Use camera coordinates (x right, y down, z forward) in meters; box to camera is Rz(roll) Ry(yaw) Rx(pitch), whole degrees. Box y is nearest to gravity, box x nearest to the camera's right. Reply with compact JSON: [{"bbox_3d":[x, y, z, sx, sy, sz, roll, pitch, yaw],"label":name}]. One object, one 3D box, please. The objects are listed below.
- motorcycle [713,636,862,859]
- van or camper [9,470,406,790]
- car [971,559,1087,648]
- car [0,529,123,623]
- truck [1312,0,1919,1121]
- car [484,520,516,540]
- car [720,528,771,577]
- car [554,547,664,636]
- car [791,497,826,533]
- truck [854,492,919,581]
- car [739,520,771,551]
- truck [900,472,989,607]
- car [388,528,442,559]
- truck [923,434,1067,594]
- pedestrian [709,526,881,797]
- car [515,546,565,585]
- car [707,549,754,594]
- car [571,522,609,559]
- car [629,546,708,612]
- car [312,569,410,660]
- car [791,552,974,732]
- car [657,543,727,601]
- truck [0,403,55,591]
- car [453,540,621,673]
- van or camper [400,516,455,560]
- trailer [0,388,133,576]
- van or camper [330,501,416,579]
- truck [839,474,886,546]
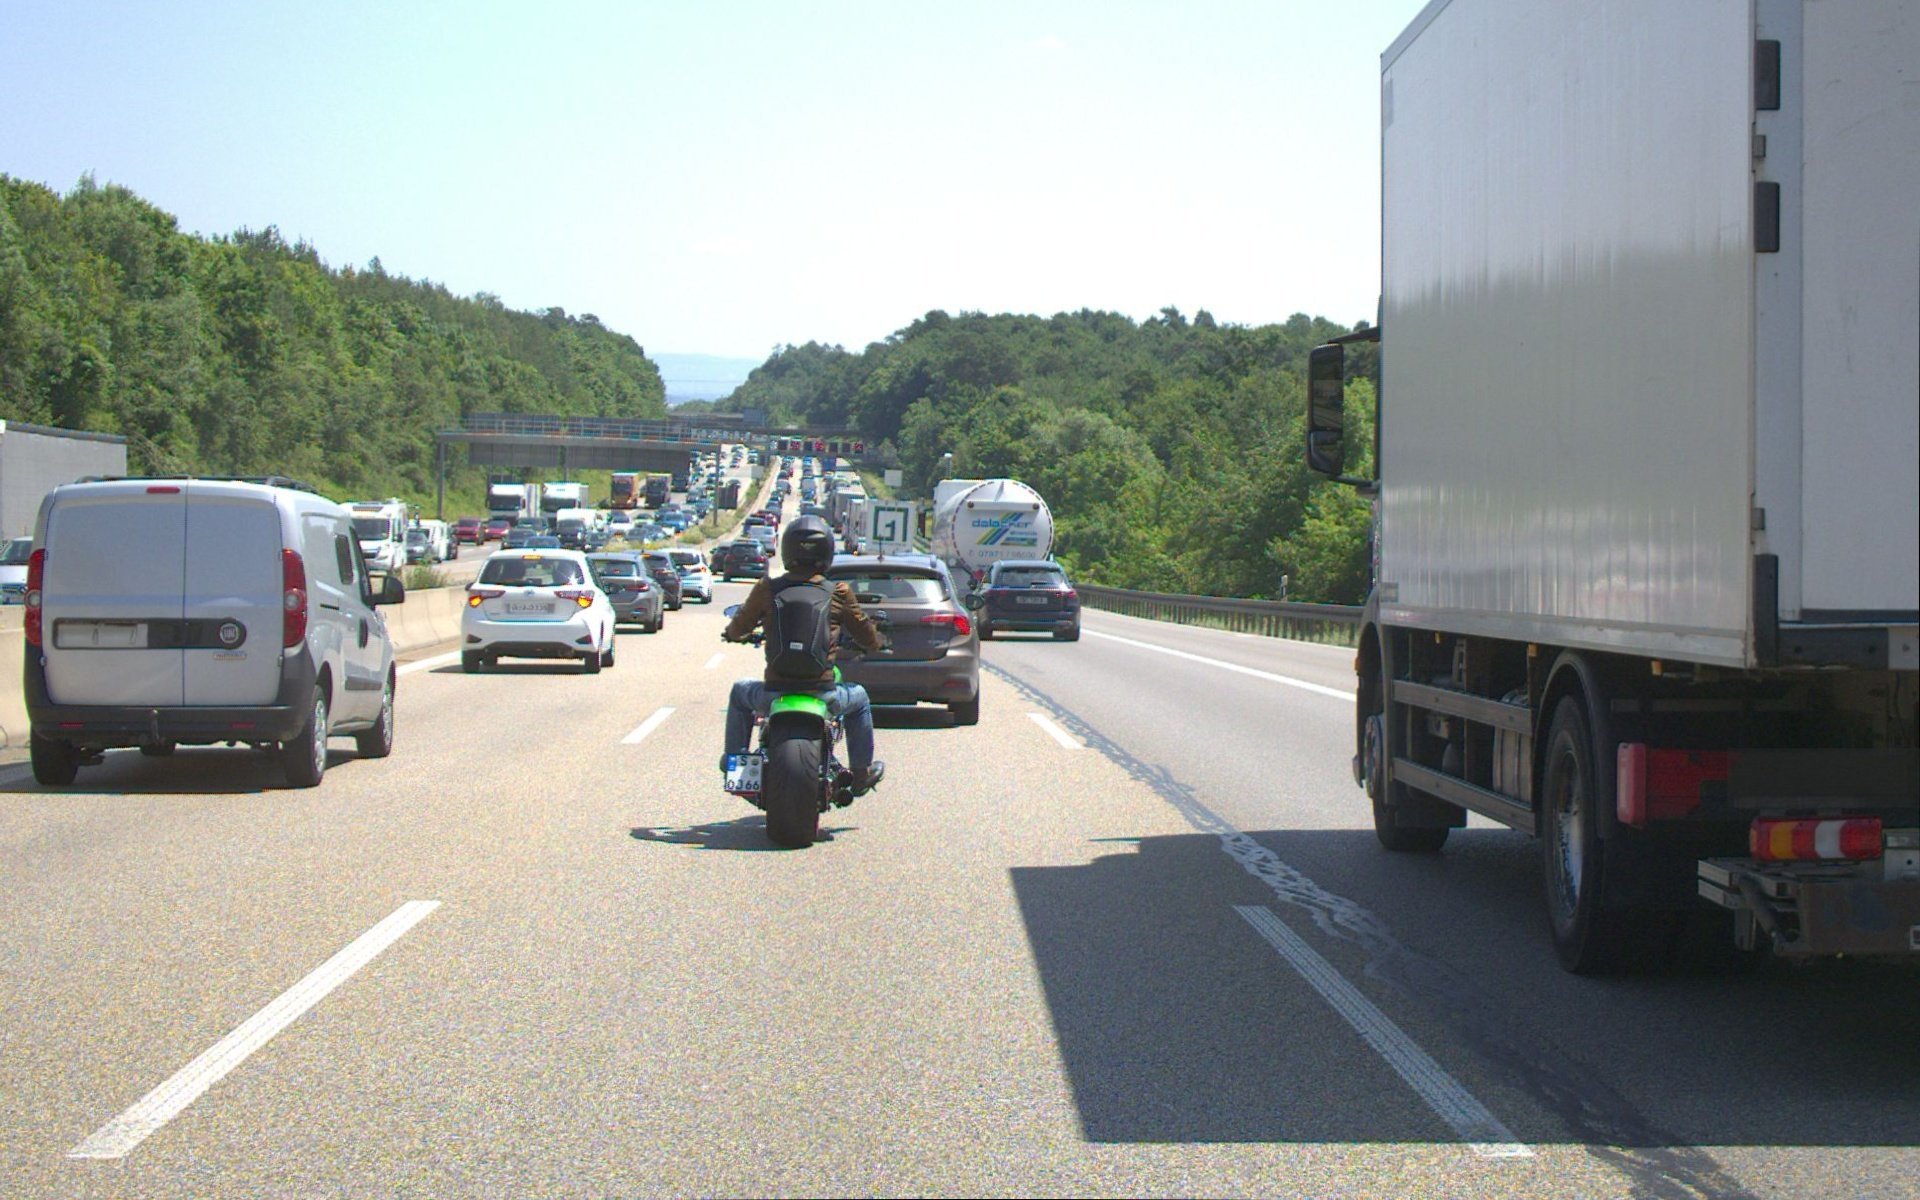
[{"bbox_3d":[-0.864,0.722,17.660,0.691,1.012,2.121,1,1,-1],"label":"motorcycle"},{"bbox_3d":[-4.803,0.170,22.503,1.796,1.886,4.160,1,0,-2],"label":"van or camper"},{"bbox_3d":[1.241,0.041,63.605,1.828,1.465,4.001,3,1,-2],"label":"car"},{"bbox_3d":[-16.791,-0.433,63.320,1.827,1.664,4.105,1,0,-1],"label":"car"},{"bbox_3d":[3.301,-0.617,13.968,2.688,3.863,9.780,0,1,0],"label":"truck"},{"bbox_3d":[-32.421,-4.908,242.329,1.762,1.365,4.502,1,1,-2],"label":"car"},{"bbox_3d":[-8.679,-1.940,139.603,1.880,1.853,4.001,3,1,-2],"label":"car"},{"bbox_3d":[-6.375,-0.174,62.814,1.699,1.473,4.001,3,1,-3],"label":"car"},{"bbox_3d":[-11.582,-6.498,262.824,2.504,2.578,5.017,3,1,-2],"label":"car"},{"bbox_3d":[-4.058,-3.449,187.031,3.033,4.527,9.984,4,1,-3],"label":"truck"},{"bbox_3d":[-13.610,-4.265,228.401,1.929,2.007,4.000,1,0,-2],"label":"car"},{"bbox_3d":[-0.457,-1.607,92.901,1.993,3.510,4.752,1,0,-5],"label":"truck"},{"bbox_3d":[-24.552,-2.552,154.989,1.801,1.342,4.724,1,1,-2],"label":"car"},{"bbox_3d":[0.756,-2.015,84.029,2.987,3.659,9.288,1,0,-2],"label":"truck"},{"bbox_3d":[-0.842,0.303,17.792,0.849,1.357,0.961,1,1,-1],"label":"pedestrian"},{"bbox_3d":[-16.985,-1.402,139.164,1.710,1.532,4.129,1,1,-3],"label":"car"},{"bbox_3d":[-10.382,-1.278,155.678,1.993,2.007,4.000,1,0,-2],"label":"car"},{"bbox_3d":[-19.885,-3.191,184.745,1.891,1.941,4.001,1,0,-4],"label":"car"},{"bbox_3d":[-7.064,-0.538,83.609,1.699,1.473,4.001,3,1,-3],"label":"car"},{"bbox_3d":[-13.761,0.315,79.106,1.763,2.007,4.001,1,1,-4],"label":"car"},{"bbox_3d":[-0.665,0.326,31.084,1.532,1.504,4.000,1,1,0],"label":"car"},{"bbox_3d":[-7.328,-0.786,94.164,1.699,1.473,4.001,3,1,-3],"label":"car"},{"bbox_3d":[-21.332,-2.150,72.665,2.812,3.895,7.316,1,0,-3],"label":"truck"},{"bbox_3d":[-5.197,0.041,42.651,1.699,1.473,4.001,3,1,-3],"label":"car"},{"bbox_3d":[-24.701,-2.880,159.601,2.076,1.970,3.705,1,1,-2],"label":"van or camper"},{"bbox_3d":[-21.730,-2.532,78.852,2.812,3.895,13.828,1,0,-3],"label":"trailer"},{"bbox_3d":[-21.348,-2.144,125.273,2.269,2.726,6.806,1,0,-3],"label":"van or camper"},{"bbox_3d":[-7.410,-6.771,259.861,3.033,5.121,9.984,4,1,-3],"label":"truck"}]
